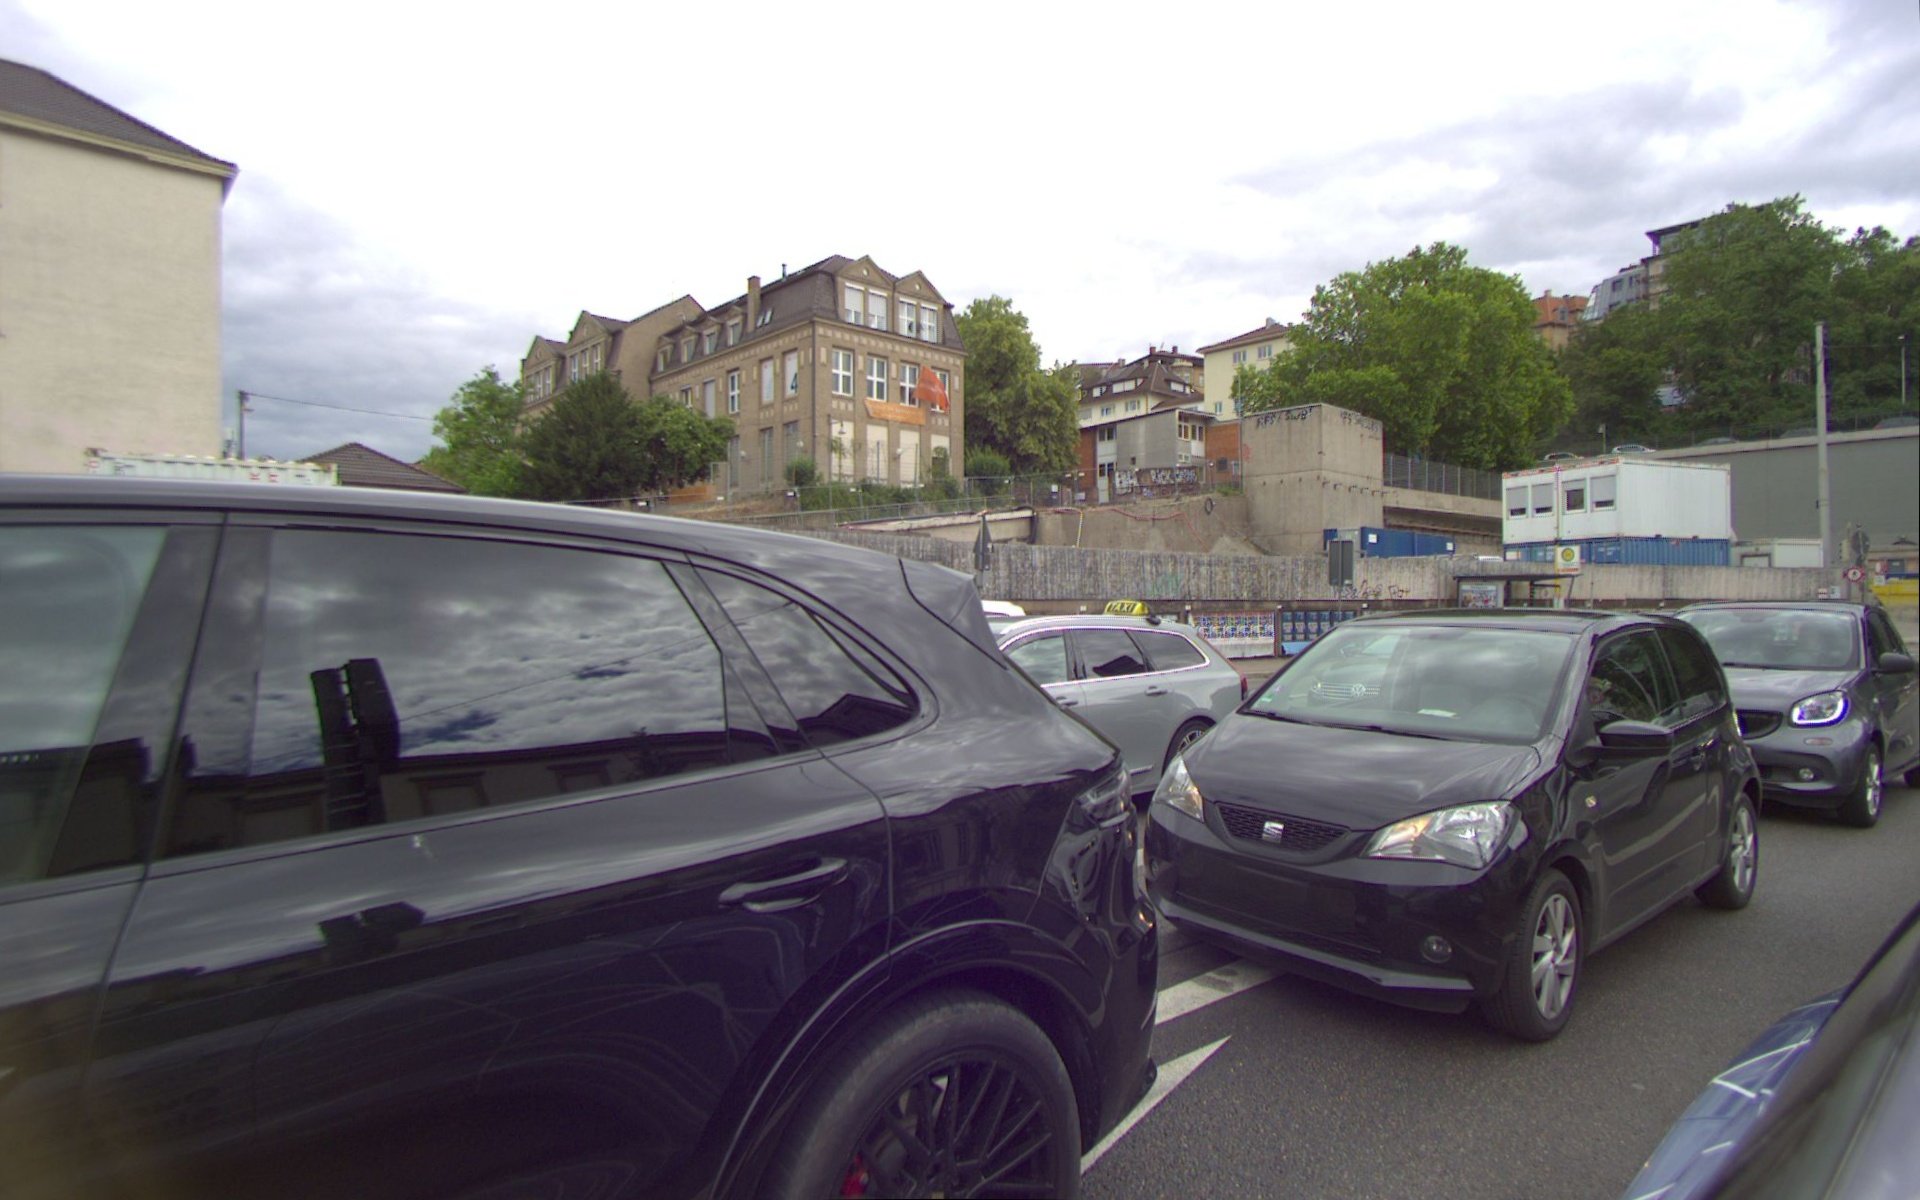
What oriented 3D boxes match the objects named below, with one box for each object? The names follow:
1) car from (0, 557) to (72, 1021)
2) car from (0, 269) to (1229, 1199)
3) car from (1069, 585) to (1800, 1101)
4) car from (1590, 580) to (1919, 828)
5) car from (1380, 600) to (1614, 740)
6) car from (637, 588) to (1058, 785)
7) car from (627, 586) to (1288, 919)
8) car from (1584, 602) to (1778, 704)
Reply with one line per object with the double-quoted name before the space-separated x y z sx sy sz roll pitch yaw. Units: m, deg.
"car" -5.313 0.687 3.043 3.930 1.645 1.679 -1 0 -41
"car" -1.630 0.540 1.605 4.406 1.737 1.827 -1 0 -41
"car" 2.428 0.677 4.796 3.636 1.476 1.827 -1 0 -41
"car" 6.699 0.660 8.191 3.511 1.563 1.720 0 0 -40
"car" 6.533 0.745 12.259 2.667 1.449 1.664 -1 0 -41
"car" -1.017 0.706 10.483 4.136 1.645 1.679 -1 0 -41
"car" 0.260 0.730 7.267 4.725 1.645 1.827 -1 0 -41
"car" 11.497 0.746 16.061 3.740 1.383 1.679 -1 0 -41
